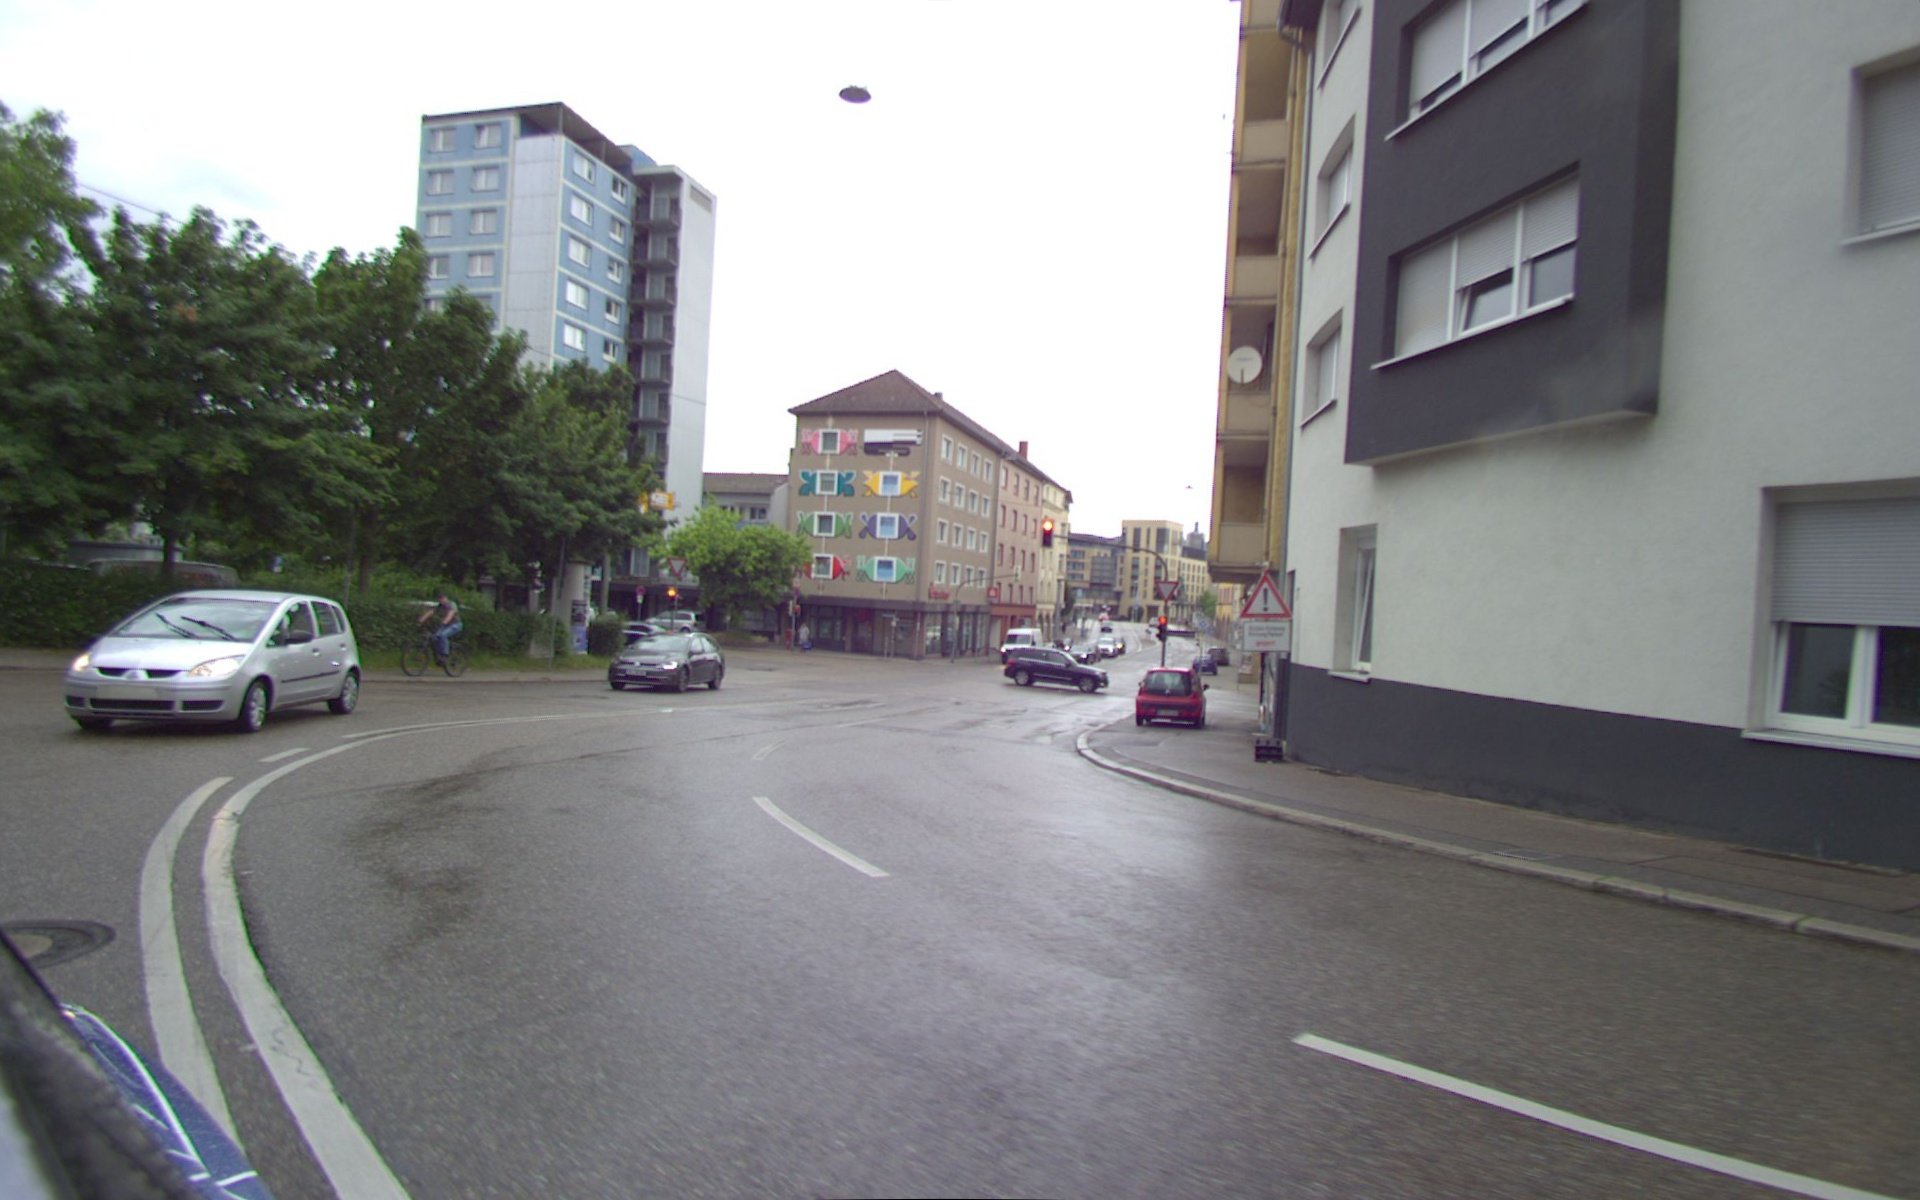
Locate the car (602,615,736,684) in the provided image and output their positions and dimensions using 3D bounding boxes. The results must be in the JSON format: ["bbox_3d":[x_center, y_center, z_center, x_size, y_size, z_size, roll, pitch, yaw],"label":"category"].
[{"bbox_3d":[-7.213,1.242,25.564,1.667,1.516,4.494,3,-2,5],"label":"car"}]

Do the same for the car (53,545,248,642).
[{"bbox_3d":[-18.868,-0.152,23.580,4.185,1.975,1.624,2,-4,23],"label":"car"}]

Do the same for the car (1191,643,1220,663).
[{"bbox_3d":[17.707,3.812,72.947,1.835,1.430,3.548,0,-3,17],"label":"car"}]

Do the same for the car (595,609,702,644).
[{"bbox_3d":[-14.973,1.247,48.710,4.613,1.406,1.813,3,0,13],"label":"car"}]

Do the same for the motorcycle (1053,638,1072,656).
[{"bbox_3d":[6.837,3.133,67.619,0.872,1.108,1.790,3,-2,17],"label":"motorcycle"}]

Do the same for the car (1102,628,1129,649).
[{"bbox_3d":[13.460,3.316,87.601,1.835,1.728,3.548,0,-3,17],"label":"car"}]

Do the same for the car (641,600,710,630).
[{"bbox_3d":[-19.032,0.986,67.665,4.151,1.678,1.642,5,1,17],"label":"car"}]

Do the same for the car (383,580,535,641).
[{"bbox_3d":[-16.063,0.341,32.489,4.170,1.633,1.630,3,-4,13],"label":"car"}]

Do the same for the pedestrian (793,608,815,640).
[{"bbox_3d":[-9.116,1.408,59.253,0.896,1.787,0.813,4,-2,16],"label":"pedestrian"}]

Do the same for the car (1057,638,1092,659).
[{"bbox_3d":[8.228,3.449,72.623,1.835,1.430,3.548,0,-3,17],"label":"car"}]

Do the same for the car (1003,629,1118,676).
[{"bbox_3d":[4.295,2.202,42.927,4.539,1.591,1.982,4,-2,15],"label":"car"}]

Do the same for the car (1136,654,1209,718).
[{"bbox_3d":[5.498,2.158,25.874,1.600,1.475,3.515,1,-3,16],"label":"car"}]

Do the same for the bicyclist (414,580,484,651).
[{"bbox_3d":[-11.778,0.370,23.354,0.880,1.500,0.964,6,-2,14],"label":"bicyclist"}]

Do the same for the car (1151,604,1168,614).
[{"bbox_3d":[31.497,1.397,159.922,1.774,1.521,4.002,3,-1,-2],"label":"car"}]

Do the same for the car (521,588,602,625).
[{"bbox_3d":[-24.053,0.414,61.153,4.199,1.869,1.979,4,-2,19],"label":"car"}]

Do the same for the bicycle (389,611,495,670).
[{"bbox_3d":[-11.860,0.951,23.272,0.880,1.196,2.124,6,-2,14],"label":"bicycle"}]

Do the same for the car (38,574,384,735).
[{"bbox_3d":[-8.453,0.586,11.901,1.660,1.516,3.847,3,-2,-10],"label":"car"}]

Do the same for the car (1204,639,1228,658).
[{"bbox_3d":[22.717,4.320,89.627,1.835,1.579,4.344,0,-3,17],"label":"car"}]

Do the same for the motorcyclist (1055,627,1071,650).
[{"bbox_3d":[6.874,2.575,67.646,0.872,1.490,0.792,3,-2,17],"label":"motorcyclist"}]

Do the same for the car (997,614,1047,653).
[{"bbox_3d":[4.351,2.394,70.514,2.214,2.543,5.439,1,-2,17],"label":"car"}]
